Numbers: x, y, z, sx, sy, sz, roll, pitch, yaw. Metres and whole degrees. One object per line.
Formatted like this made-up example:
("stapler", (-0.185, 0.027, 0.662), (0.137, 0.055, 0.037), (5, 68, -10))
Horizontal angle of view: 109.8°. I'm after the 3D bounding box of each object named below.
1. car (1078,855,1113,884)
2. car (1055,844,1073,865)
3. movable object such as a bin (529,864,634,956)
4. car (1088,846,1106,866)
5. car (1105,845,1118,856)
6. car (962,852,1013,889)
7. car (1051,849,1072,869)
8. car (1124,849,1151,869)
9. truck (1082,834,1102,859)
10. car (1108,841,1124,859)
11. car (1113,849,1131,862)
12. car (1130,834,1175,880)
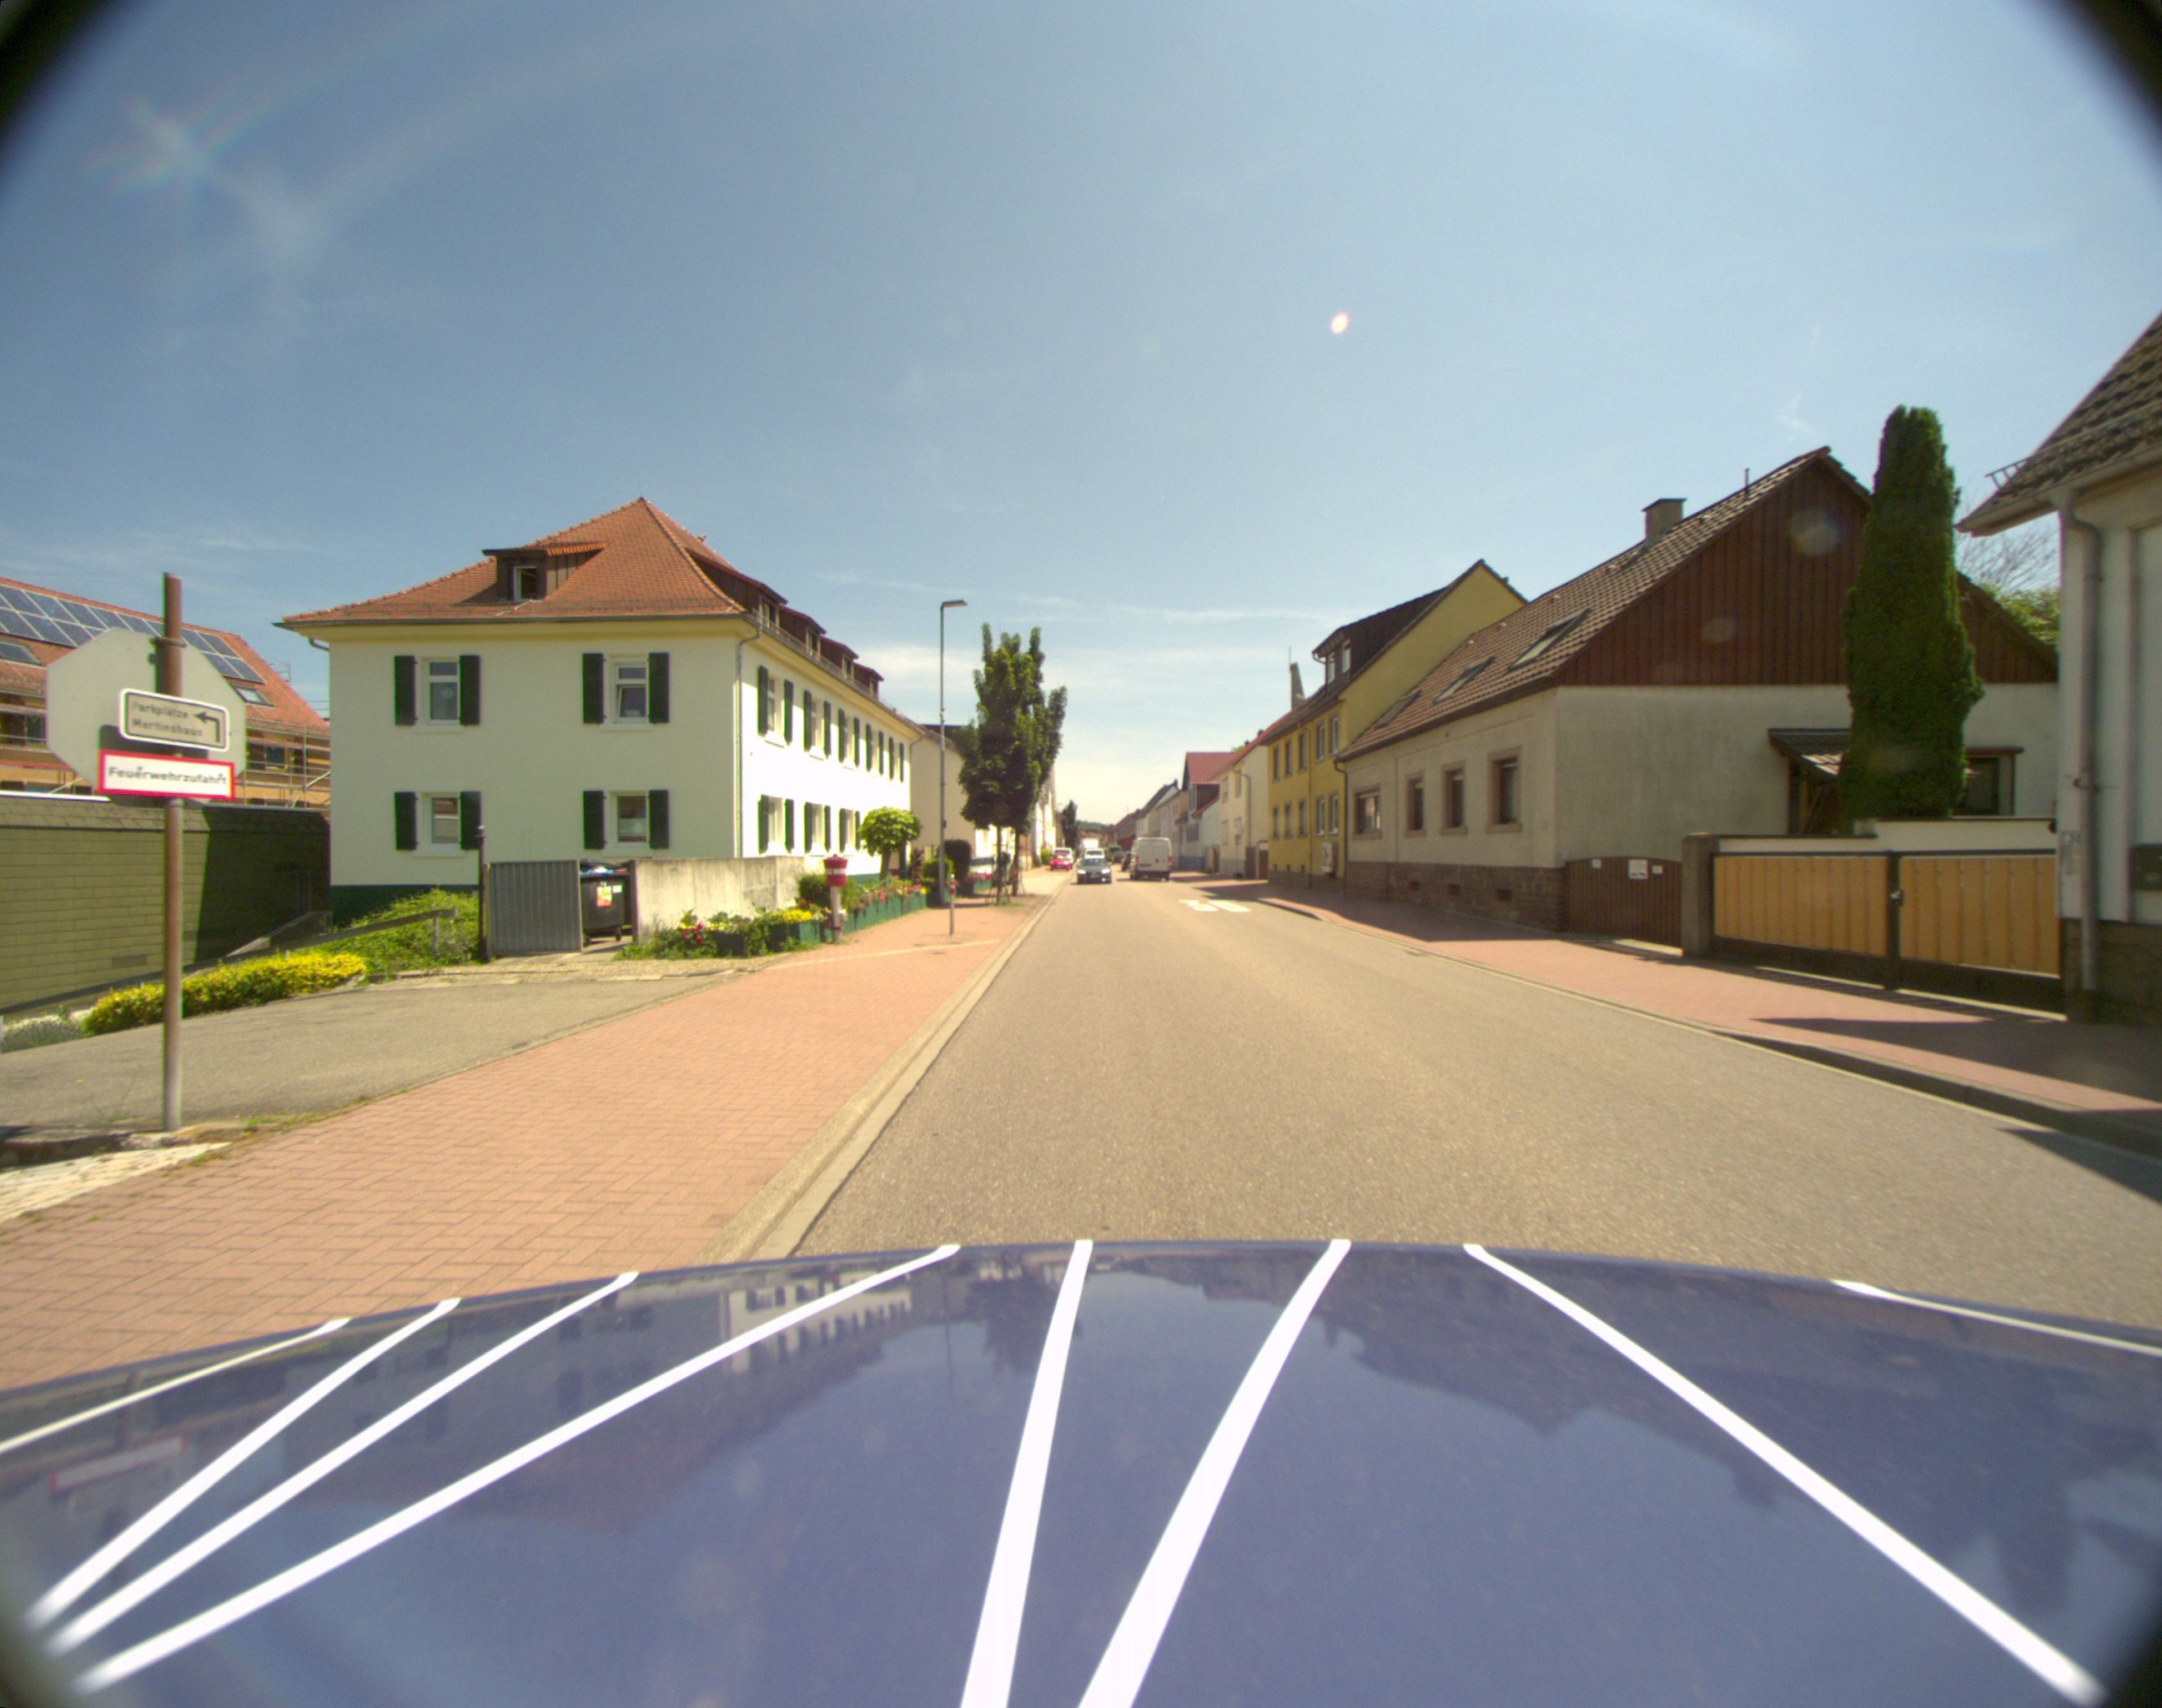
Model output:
("car", (0.763, 0.788, 39.341), (1.705, 1.346, 4.000), (-2, 0, 1))
("car", (-1.596, 0.027, 71.919), (1.636, 1.833, 3.569), (1, 1, 0))
("movable object such as a bin", (-8.351, 0.911, 12.748), (1.052, 1.422, 0.901), (-3, 1, 3))
("car", (1.518, 0.185, 70.006), (1.636, 1.833, 3.570), (0, 1, 2))
("car", (5.412, -0.627, 136.208), (1.925, 1.782, 4.249), (1, 0, -2))
("car", (-4.175, 0.700, 34.602), (1.508, 1.521, 4.437), (-2, 1, 3))
("car", (-1.665, 0.402, 64.955), (1.636, 1.572, 3.570), (1, 1, 1))
("car", (4.688, 0.391, 63.621), (1.982, 1.624, 4.251), (2, 0, 2))
("truck", (1.720, -1.149, 115.112), (2.898, 3.516, 12.953), (0, 1, 1))
("car", (4.947, -0.573, 107.594), (1.983, 2.502, 4.250), (1, 0, 1))
("car", (4.894, 0.118, 91.564), (1.983, 1.508, 4.250), (0, 0, 1))
("car", (4.125, 0.159, 44.770), (2.115, 2.517, 4.913), (1, 0, 0))
